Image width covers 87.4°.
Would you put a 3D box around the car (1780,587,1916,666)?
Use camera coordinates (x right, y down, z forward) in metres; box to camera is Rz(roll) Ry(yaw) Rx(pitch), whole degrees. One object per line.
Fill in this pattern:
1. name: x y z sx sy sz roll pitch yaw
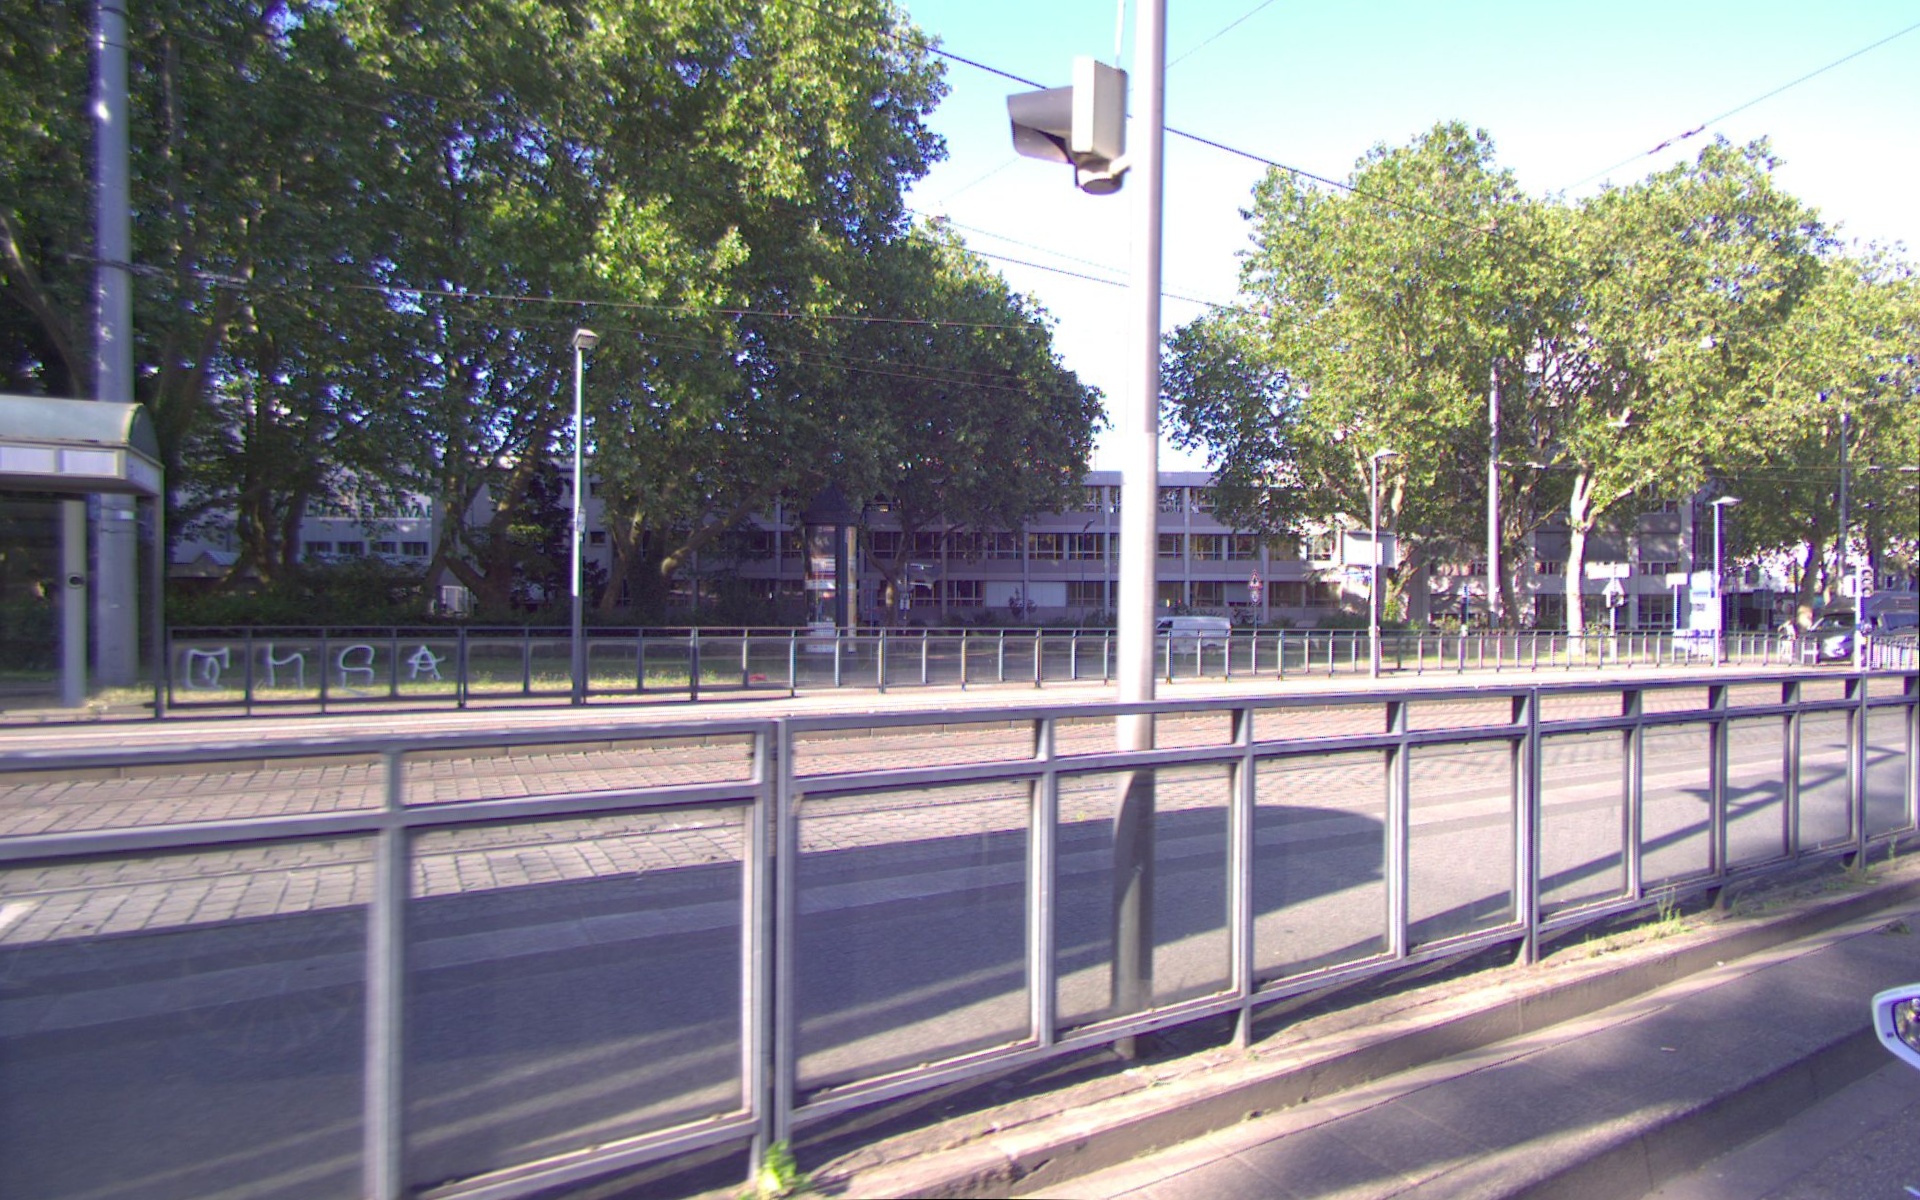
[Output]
1. car: 33.542 1.004 37.938 4.964 2.779 2.060 2 0 -26

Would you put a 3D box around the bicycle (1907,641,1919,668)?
1. bicycle: 30.563 1.721 31.206 1.584 0.827 0.527 1 0 20

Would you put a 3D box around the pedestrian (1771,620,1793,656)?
1. pedestrian: 36.336 1.667 44.407 0.669 1.572 0.533 1 0 -30

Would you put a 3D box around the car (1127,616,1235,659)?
1. car: 12.645 2.127 57.650 5.616 2.367 2.155 1 0 -7
